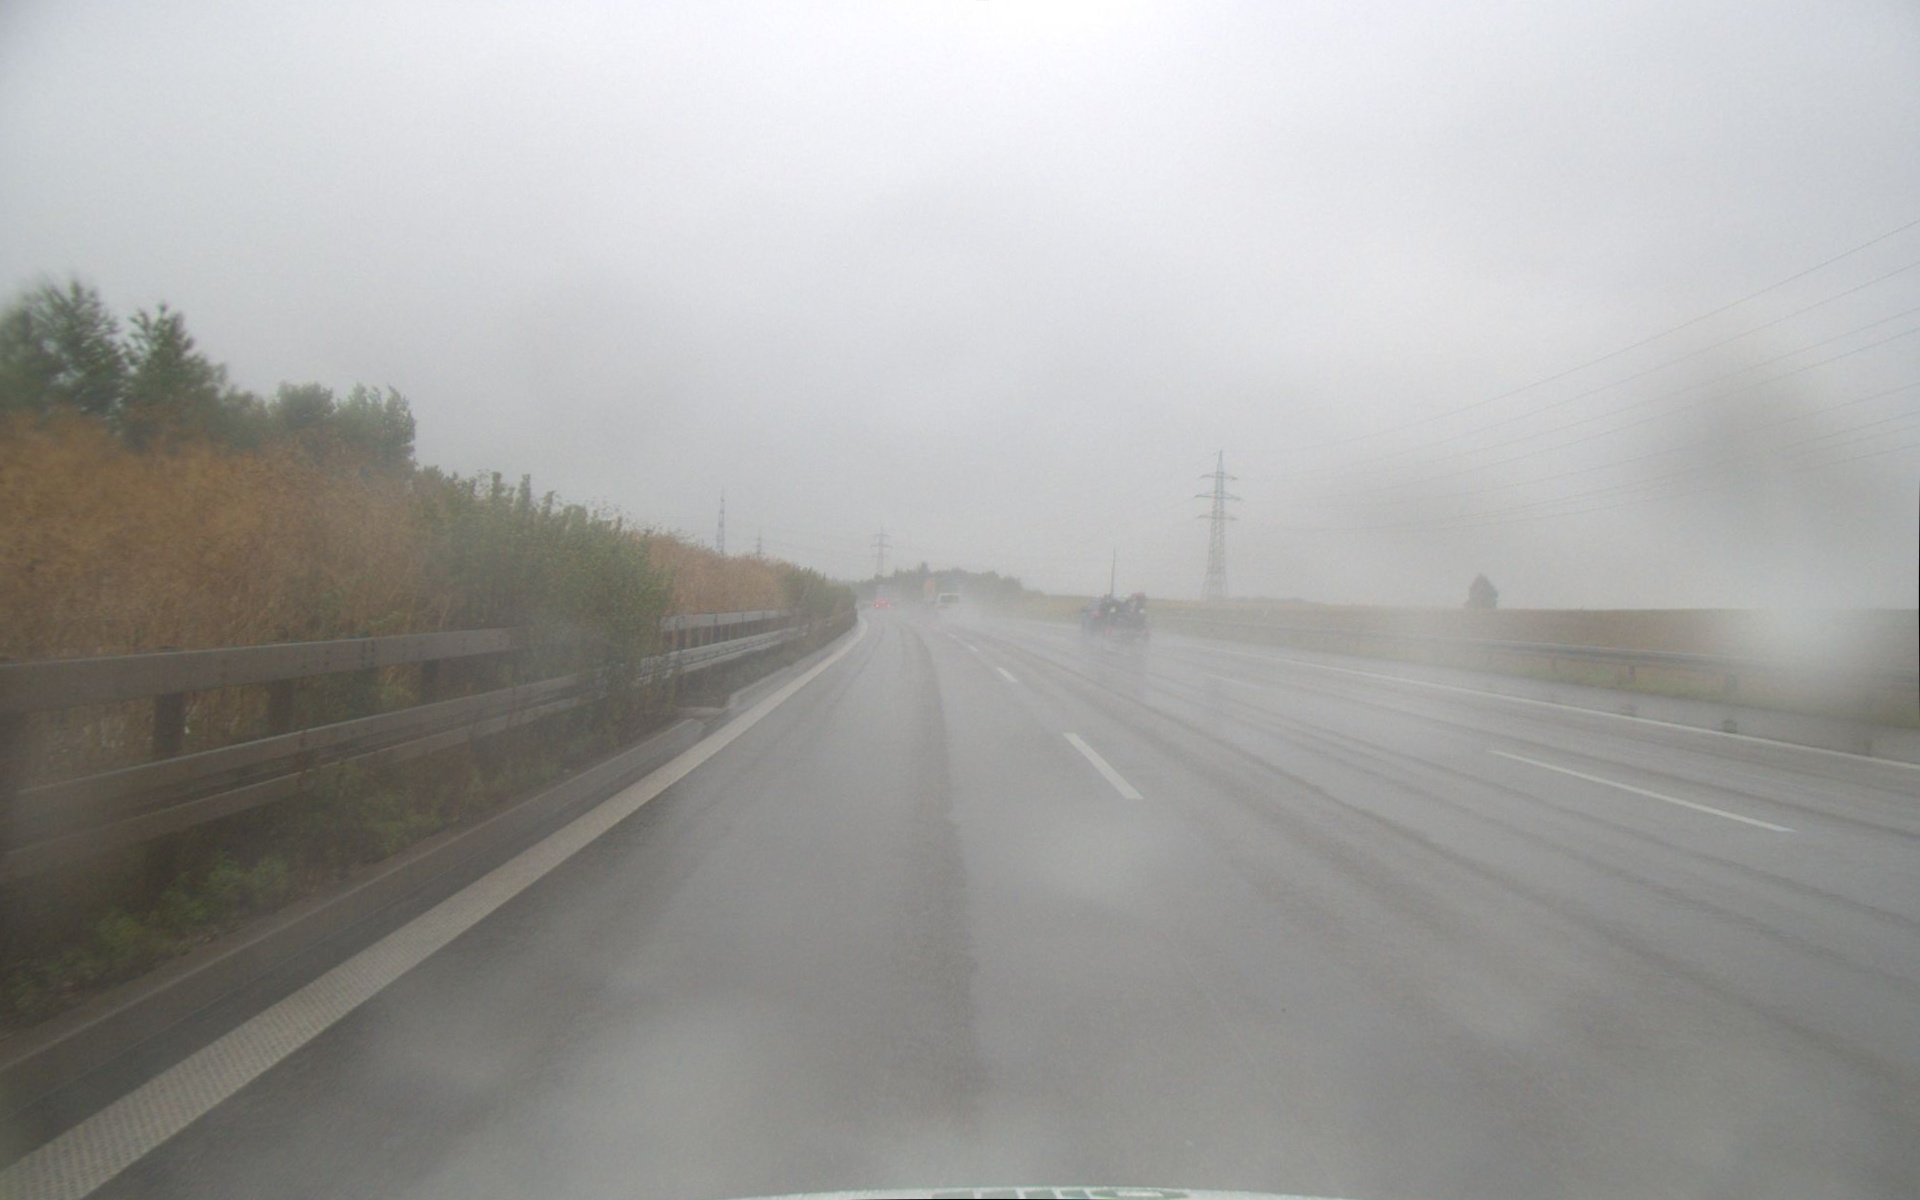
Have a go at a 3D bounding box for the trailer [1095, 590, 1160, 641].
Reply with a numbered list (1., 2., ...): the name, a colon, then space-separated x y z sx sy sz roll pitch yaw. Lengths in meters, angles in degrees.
1. trailer: 6.119 0.575 60.841 1.939 1.816 3.187 1 -1 -3

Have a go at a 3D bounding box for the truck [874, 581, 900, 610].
1. truck: -11.337 -0.690 254.639 3.172 4.387 8.821 1 0 -8

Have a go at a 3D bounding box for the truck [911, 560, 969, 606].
1. truck: -2.358 -1.788 183.981 4.111 4.711 16.071 1 -1 -9

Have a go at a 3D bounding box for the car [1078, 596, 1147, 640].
1. car: 5.932 0.721 64.931 1.954 1.647 4.989 1 -1 -3
